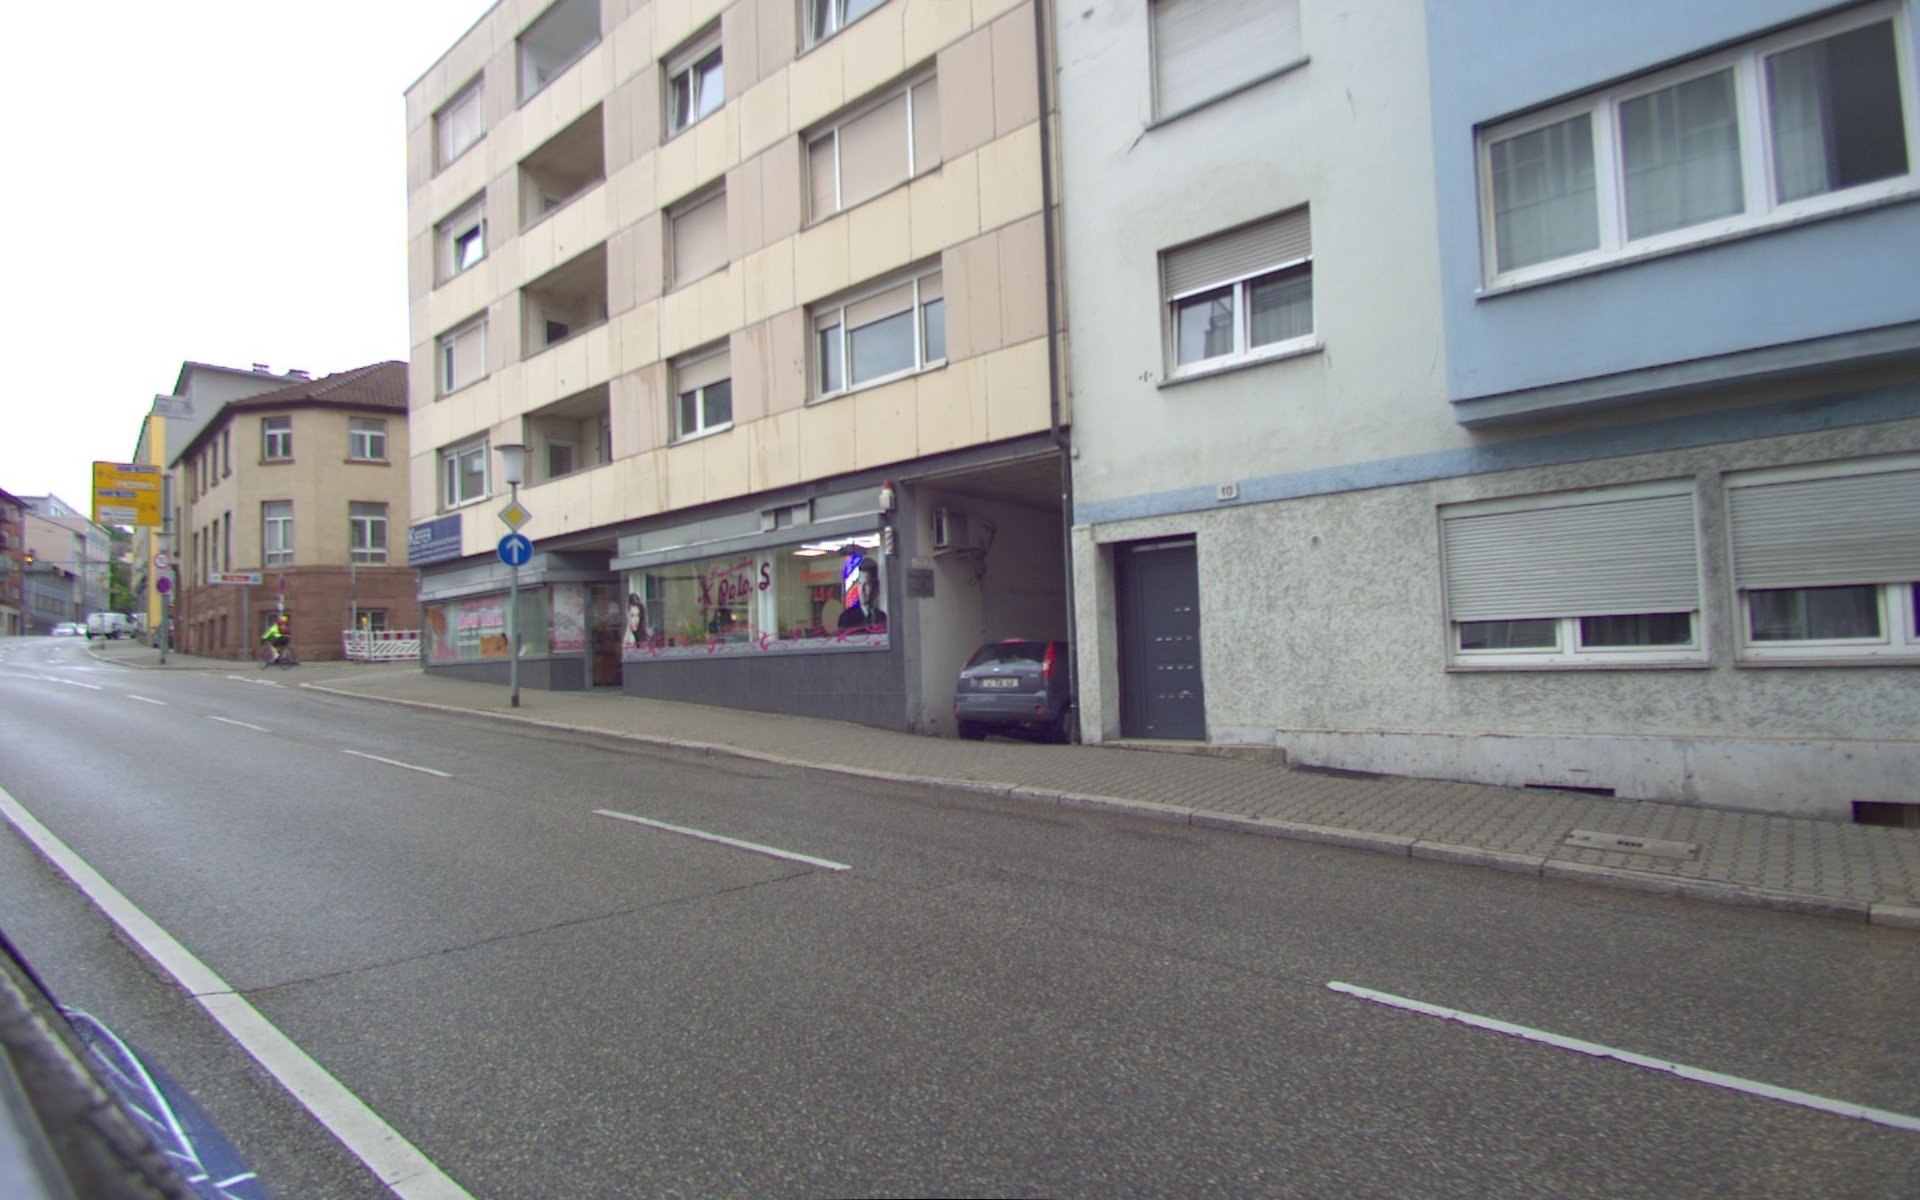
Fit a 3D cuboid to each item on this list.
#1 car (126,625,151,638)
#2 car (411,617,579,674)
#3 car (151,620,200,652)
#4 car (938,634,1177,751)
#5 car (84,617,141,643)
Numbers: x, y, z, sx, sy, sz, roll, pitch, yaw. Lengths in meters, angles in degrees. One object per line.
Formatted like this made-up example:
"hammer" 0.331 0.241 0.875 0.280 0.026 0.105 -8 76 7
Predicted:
"car" -94.781 3.581 116.785 1.832 1.465 4.330 1 -2 -33
"car" -13.992 1.324 30.560 4.295 1.515 1.757 -1 -1 -39
"car" -40.017 1.808 51.569 1.834 1.465 3.970 -3 1 -39
"car" 1.519 1.388 14.238 1.674 1.361 3.954 -3 -9 34
"car" -61.312 2.163 73.302 1.835 1.817 4.279 1 -2 -21
